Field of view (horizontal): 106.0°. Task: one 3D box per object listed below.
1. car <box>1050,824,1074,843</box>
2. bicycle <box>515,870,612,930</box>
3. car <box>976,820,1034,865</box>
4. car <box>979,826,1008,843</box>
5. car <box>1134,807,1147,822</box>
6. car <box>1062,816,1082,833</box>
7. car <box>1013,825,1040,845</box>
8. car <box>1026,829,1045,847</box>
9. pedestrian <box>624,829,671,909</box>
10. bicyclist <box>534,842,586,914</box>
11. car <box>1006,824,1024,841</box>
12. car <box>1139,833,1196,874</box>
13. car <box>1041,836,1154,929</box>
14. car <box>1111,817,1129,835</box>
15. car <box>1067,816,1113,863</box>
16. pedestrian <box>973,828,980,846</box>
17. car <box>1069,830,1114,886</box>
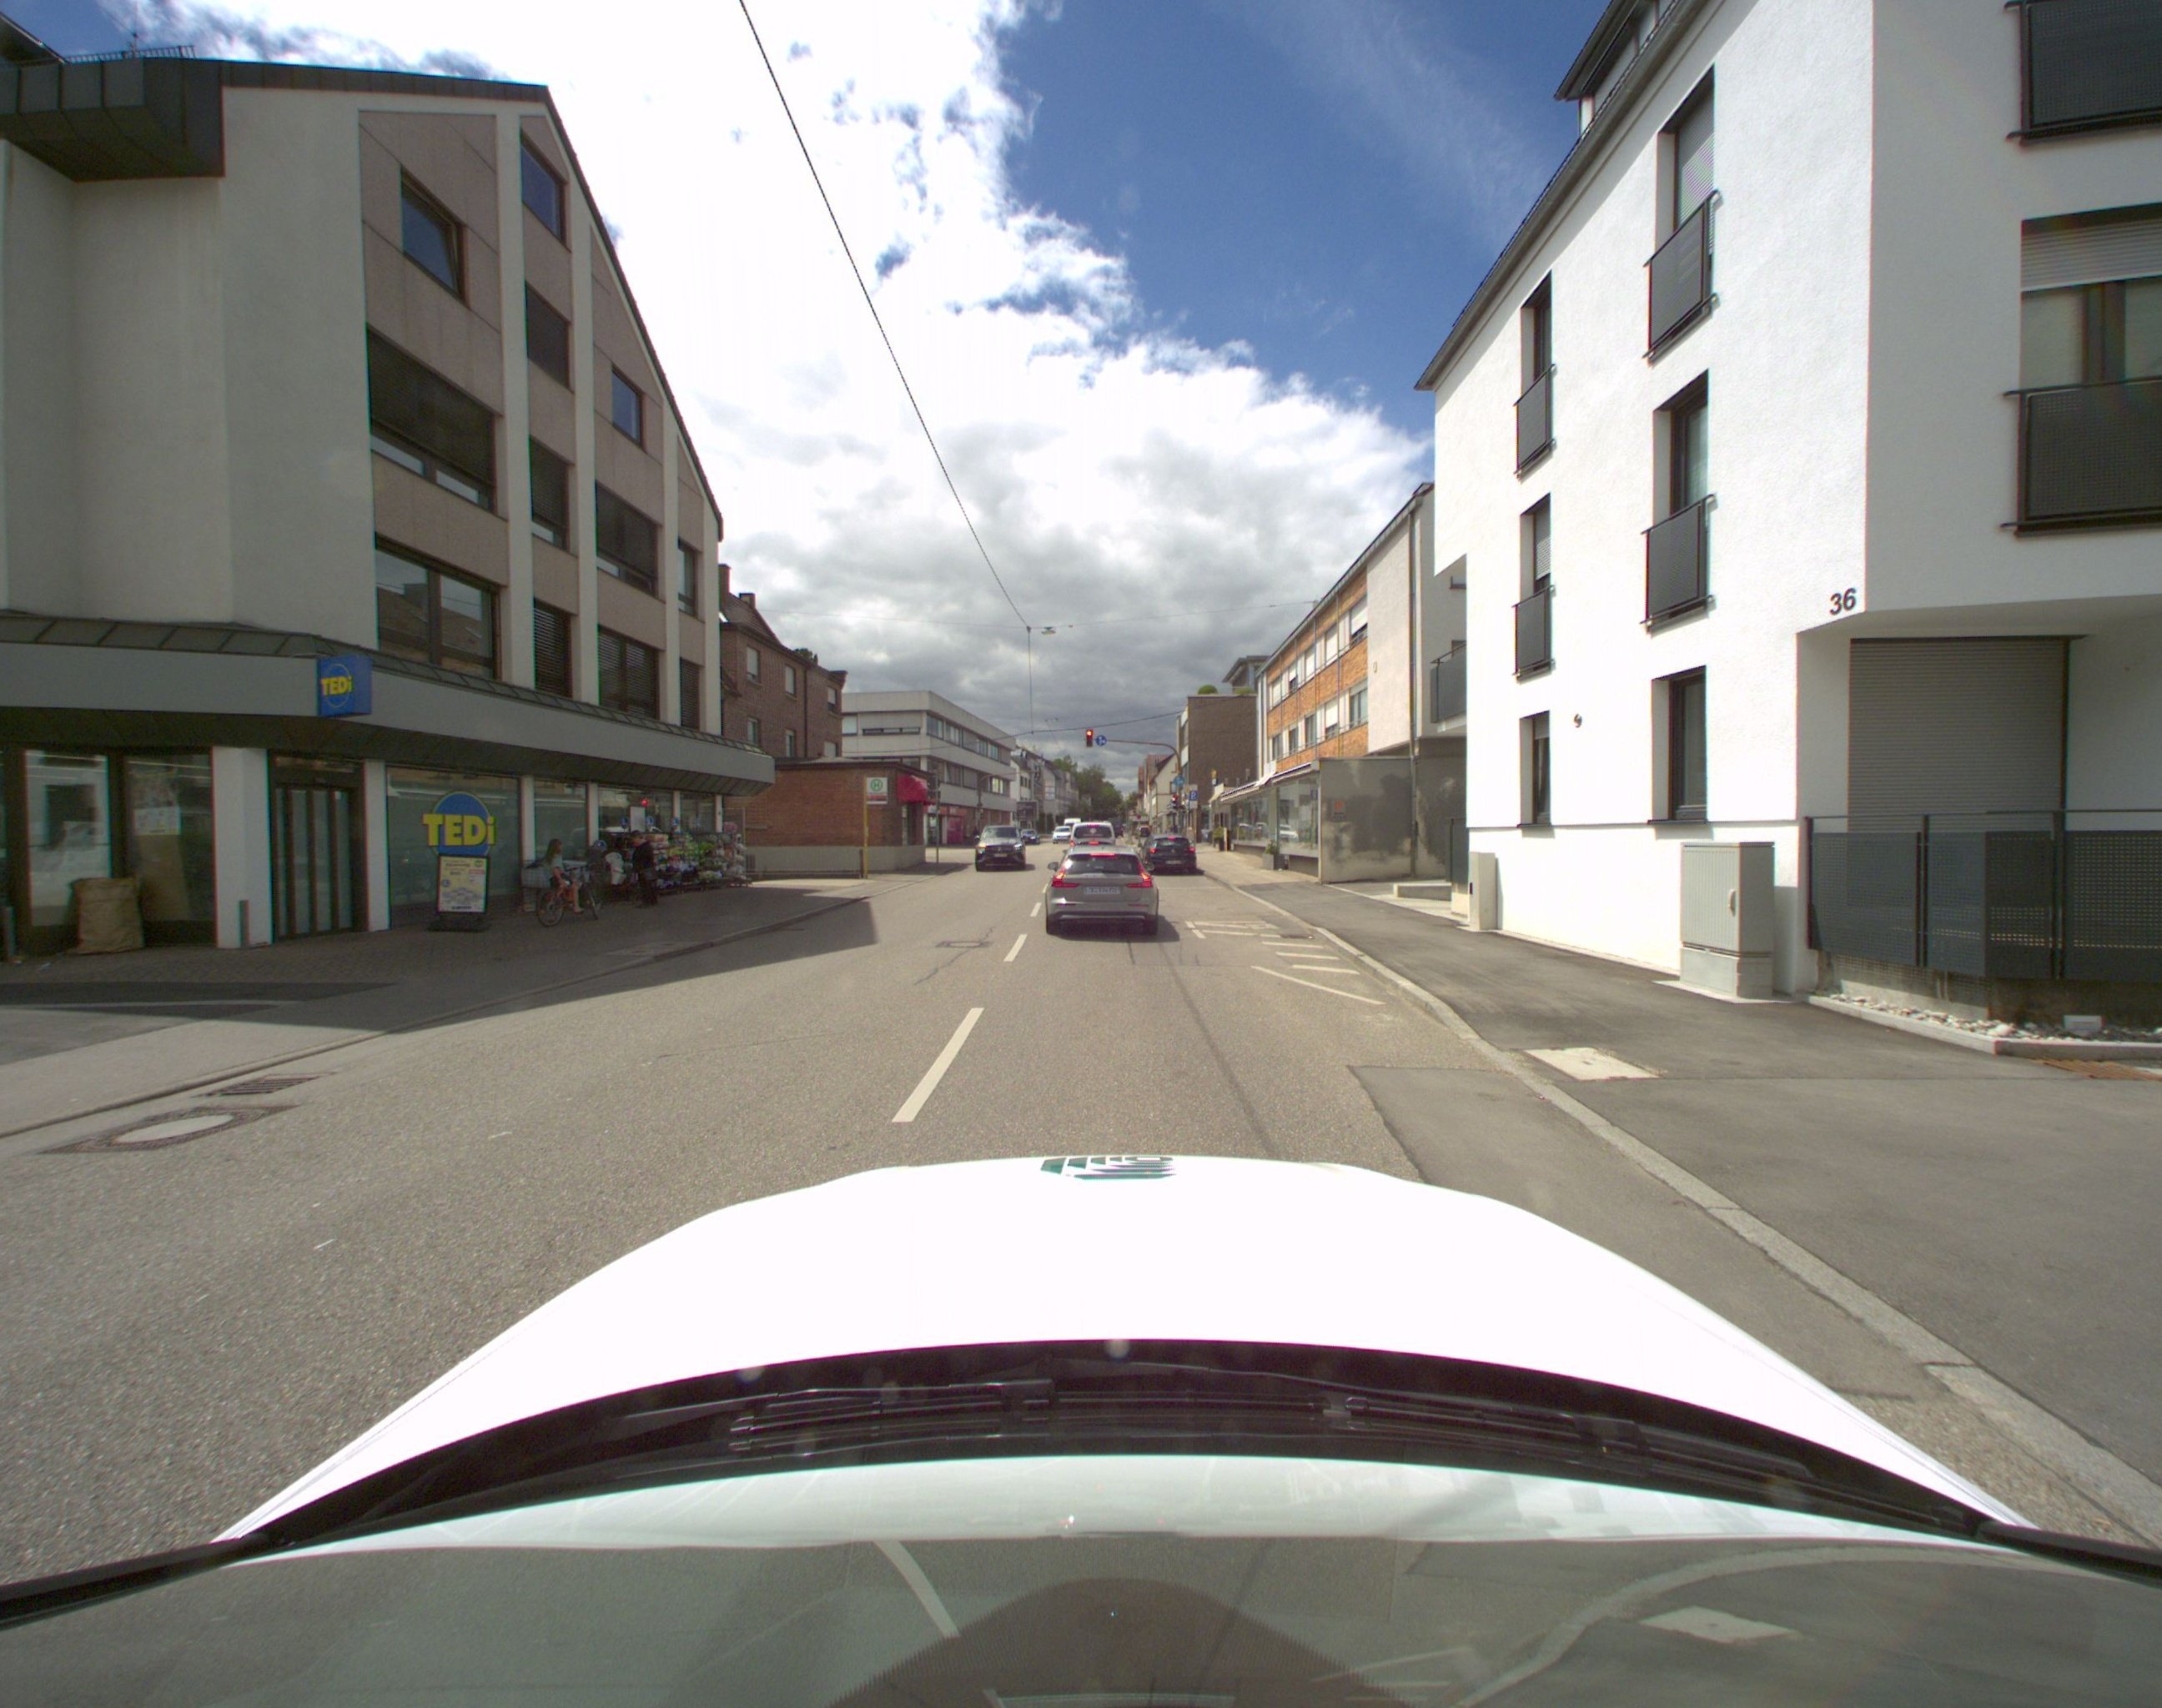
[{"bbox_3d":[-1.734,-1.915,77.021,1.864,1.640,4.005,1,0,4],"label":"car"},{"bbox_3d":[-8.741,0.751,13.845,0.465,0.861,1.778,1,2,2],"label":"bicycle"},{"bbox_3d":[-3.070,-0.446,33.723,1.832,1.726,4.353,-1,0,2],"label":"car"},{"bbox_3d":[-7.881,-1.722,73.383,1.985,1.398,4.003,1,0,3],"label":"car"},{"bbox_3d":[9.306,-6.186,127.694,1.795,2.014,4.002,-1,-1,2],"label":"car"},{"bbox_3d":[-0.972,-3.308,91.165,1.864,1.640,4.005,-1,-1,4],"label":"car"},{"bbox_3d":[-4.895,-1.680,73.419,1.864,1.640,4.005,1,0,4],"label":"car"},{"bbox_3d":[-5.469,-1.900,98.282,1.986,2.014,4.000,1,0,1],"label":"car"},{"bbox_3d":[-8.861,0.306,16.656,0.625,1.602,0.563,0,0,6],"label":"pedestrian"},{"bbox_3d":[-8.796,0.395,13.770,0.456,1.179,0.625,-1,0,2],"label":"bicyclist"},{"bbox_3d":[-6.457,-2.050,79.671,1.379,1.541,3.400,-1,-1,2],"label":"car"},{"bbox_3d":[3.151,-0.060,30.291,1.747,1.370,4.001,0,2,0],"label":"car"},{"bbox_3d":[0.330,0.439,14.608,1.737,1.417,4.002,-1,0,2],"label":"car"},{"bbox_3d":[5.436,-3.866,114.387,2.427,2.318,5.329,1,0,2],"label":"car"},{"bbox_3d":[0.431,-0.571,33.879,1.829,1.862,3.852,0,0,2],"label":"car"},{"bbox_3d":[-8.510,-1.382,66.460,0.513,1.436,0.488,-1,0,-7],"label":"pedestrian"},{"bbox_3d":[0.335,0.083,24.848,1.269,1.527,3.052,-1,3,1],"label":"car"}]
